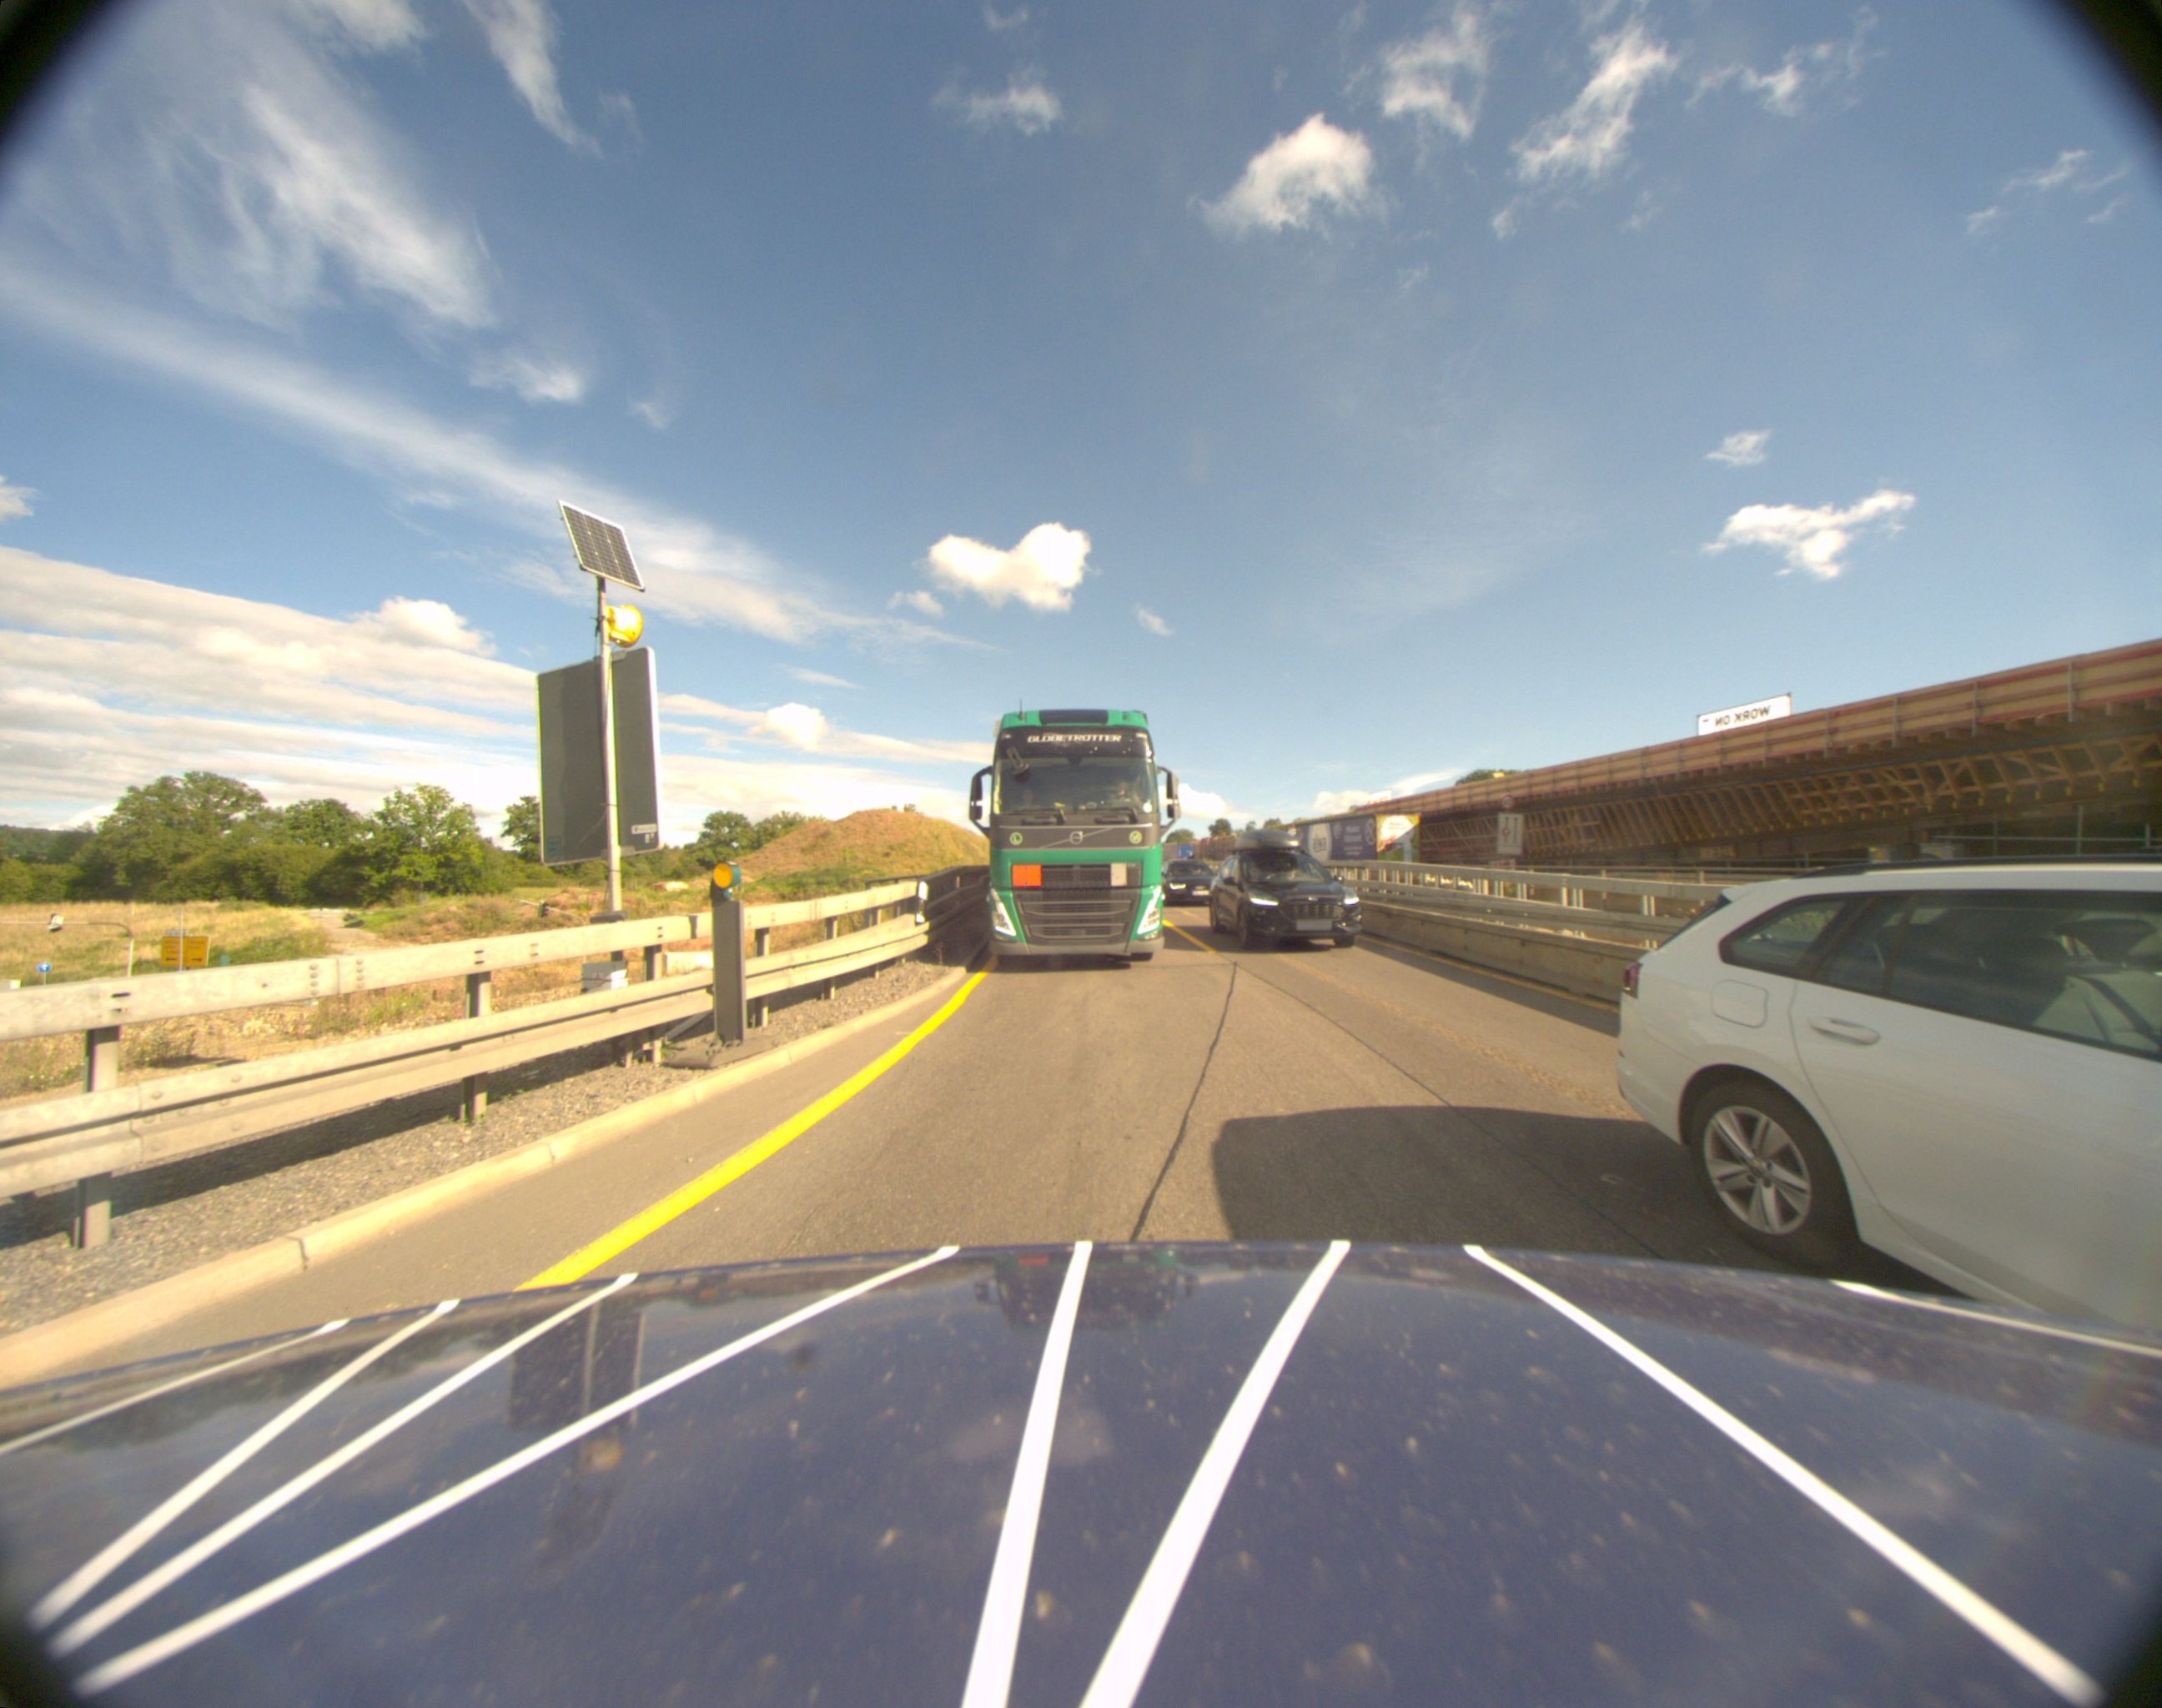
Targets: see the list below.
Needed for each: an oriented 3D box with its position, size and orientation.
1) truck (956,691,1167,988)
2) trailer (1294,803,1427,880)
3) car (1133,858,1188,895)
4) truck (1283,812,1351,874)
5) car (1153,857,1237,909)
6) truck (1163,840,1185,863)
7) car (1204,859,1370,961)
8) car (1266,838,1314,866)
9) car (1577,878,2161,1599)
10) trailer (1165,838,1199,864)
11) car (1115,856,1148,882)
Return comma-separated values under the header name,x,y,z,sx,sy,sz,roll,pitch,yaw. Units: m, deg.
name,x,y,z,sx,sy,sz,roll,pitch,yaw
truck,-0.392,-0.247,15.105,2.664,3.825,10.314,-1,1,-2
trailer,17.059,-0.743,48.010,2.695,4.132,13.806,-1,1,-3
car,3.584,0.993,34.933,1.949,1.422,4.407,-2,1,-1
truck,16.736,-0.783,54.382,2.719,4.114,5.968,-1,1,-3
car,3.623,0.887,24.936,1.949,1.422,4.503,-1,1,-2
truck,14.817,-0.456,121.341,2.850,3.608,4.809,-1,1,-1
car,3.473,0.863,13.684,1.804,1.533,4.384,0,0,0
car,14.016,-0.134,51.151,1.929,1.757,4.325,-1,1,-2
car,3.253,0.899,1.370,1.774,1.482,4.515,0,1,0
trailer,15.058,-0.450,114.510,2.870,3.645,13.524,-1,1,-2
car,3.137,0.899,48.064,1.659,1.510,3.999,-1,1,-2
